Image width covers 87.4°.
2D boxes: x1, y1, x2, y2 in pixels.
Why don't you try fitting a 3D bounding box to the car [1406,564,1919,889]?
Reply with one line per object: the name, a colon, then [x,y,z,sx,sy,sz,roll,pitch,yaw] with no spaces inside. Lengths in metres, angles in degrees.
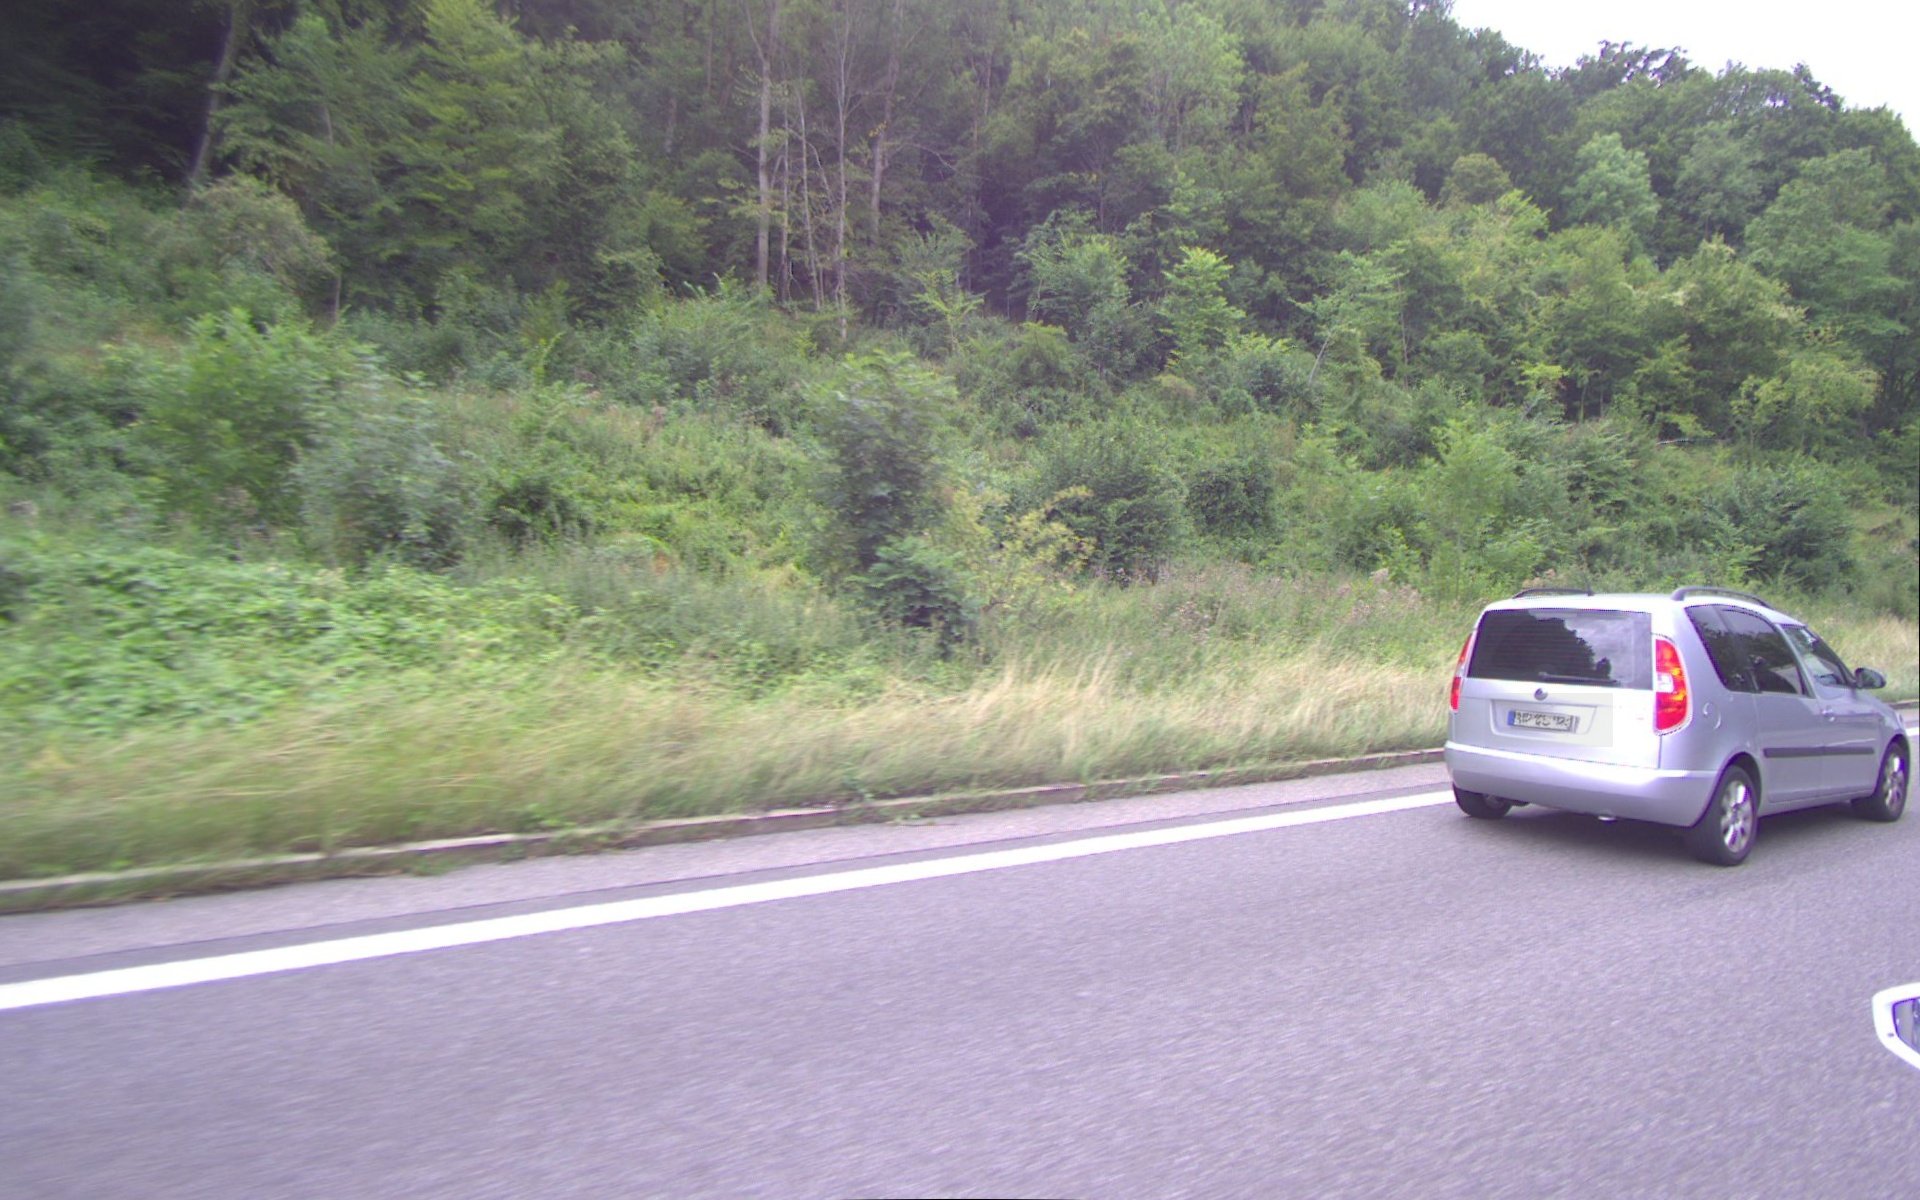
car: [5.275,0.708,7.244,4.295,1.749,1.625,1,0,-32]
